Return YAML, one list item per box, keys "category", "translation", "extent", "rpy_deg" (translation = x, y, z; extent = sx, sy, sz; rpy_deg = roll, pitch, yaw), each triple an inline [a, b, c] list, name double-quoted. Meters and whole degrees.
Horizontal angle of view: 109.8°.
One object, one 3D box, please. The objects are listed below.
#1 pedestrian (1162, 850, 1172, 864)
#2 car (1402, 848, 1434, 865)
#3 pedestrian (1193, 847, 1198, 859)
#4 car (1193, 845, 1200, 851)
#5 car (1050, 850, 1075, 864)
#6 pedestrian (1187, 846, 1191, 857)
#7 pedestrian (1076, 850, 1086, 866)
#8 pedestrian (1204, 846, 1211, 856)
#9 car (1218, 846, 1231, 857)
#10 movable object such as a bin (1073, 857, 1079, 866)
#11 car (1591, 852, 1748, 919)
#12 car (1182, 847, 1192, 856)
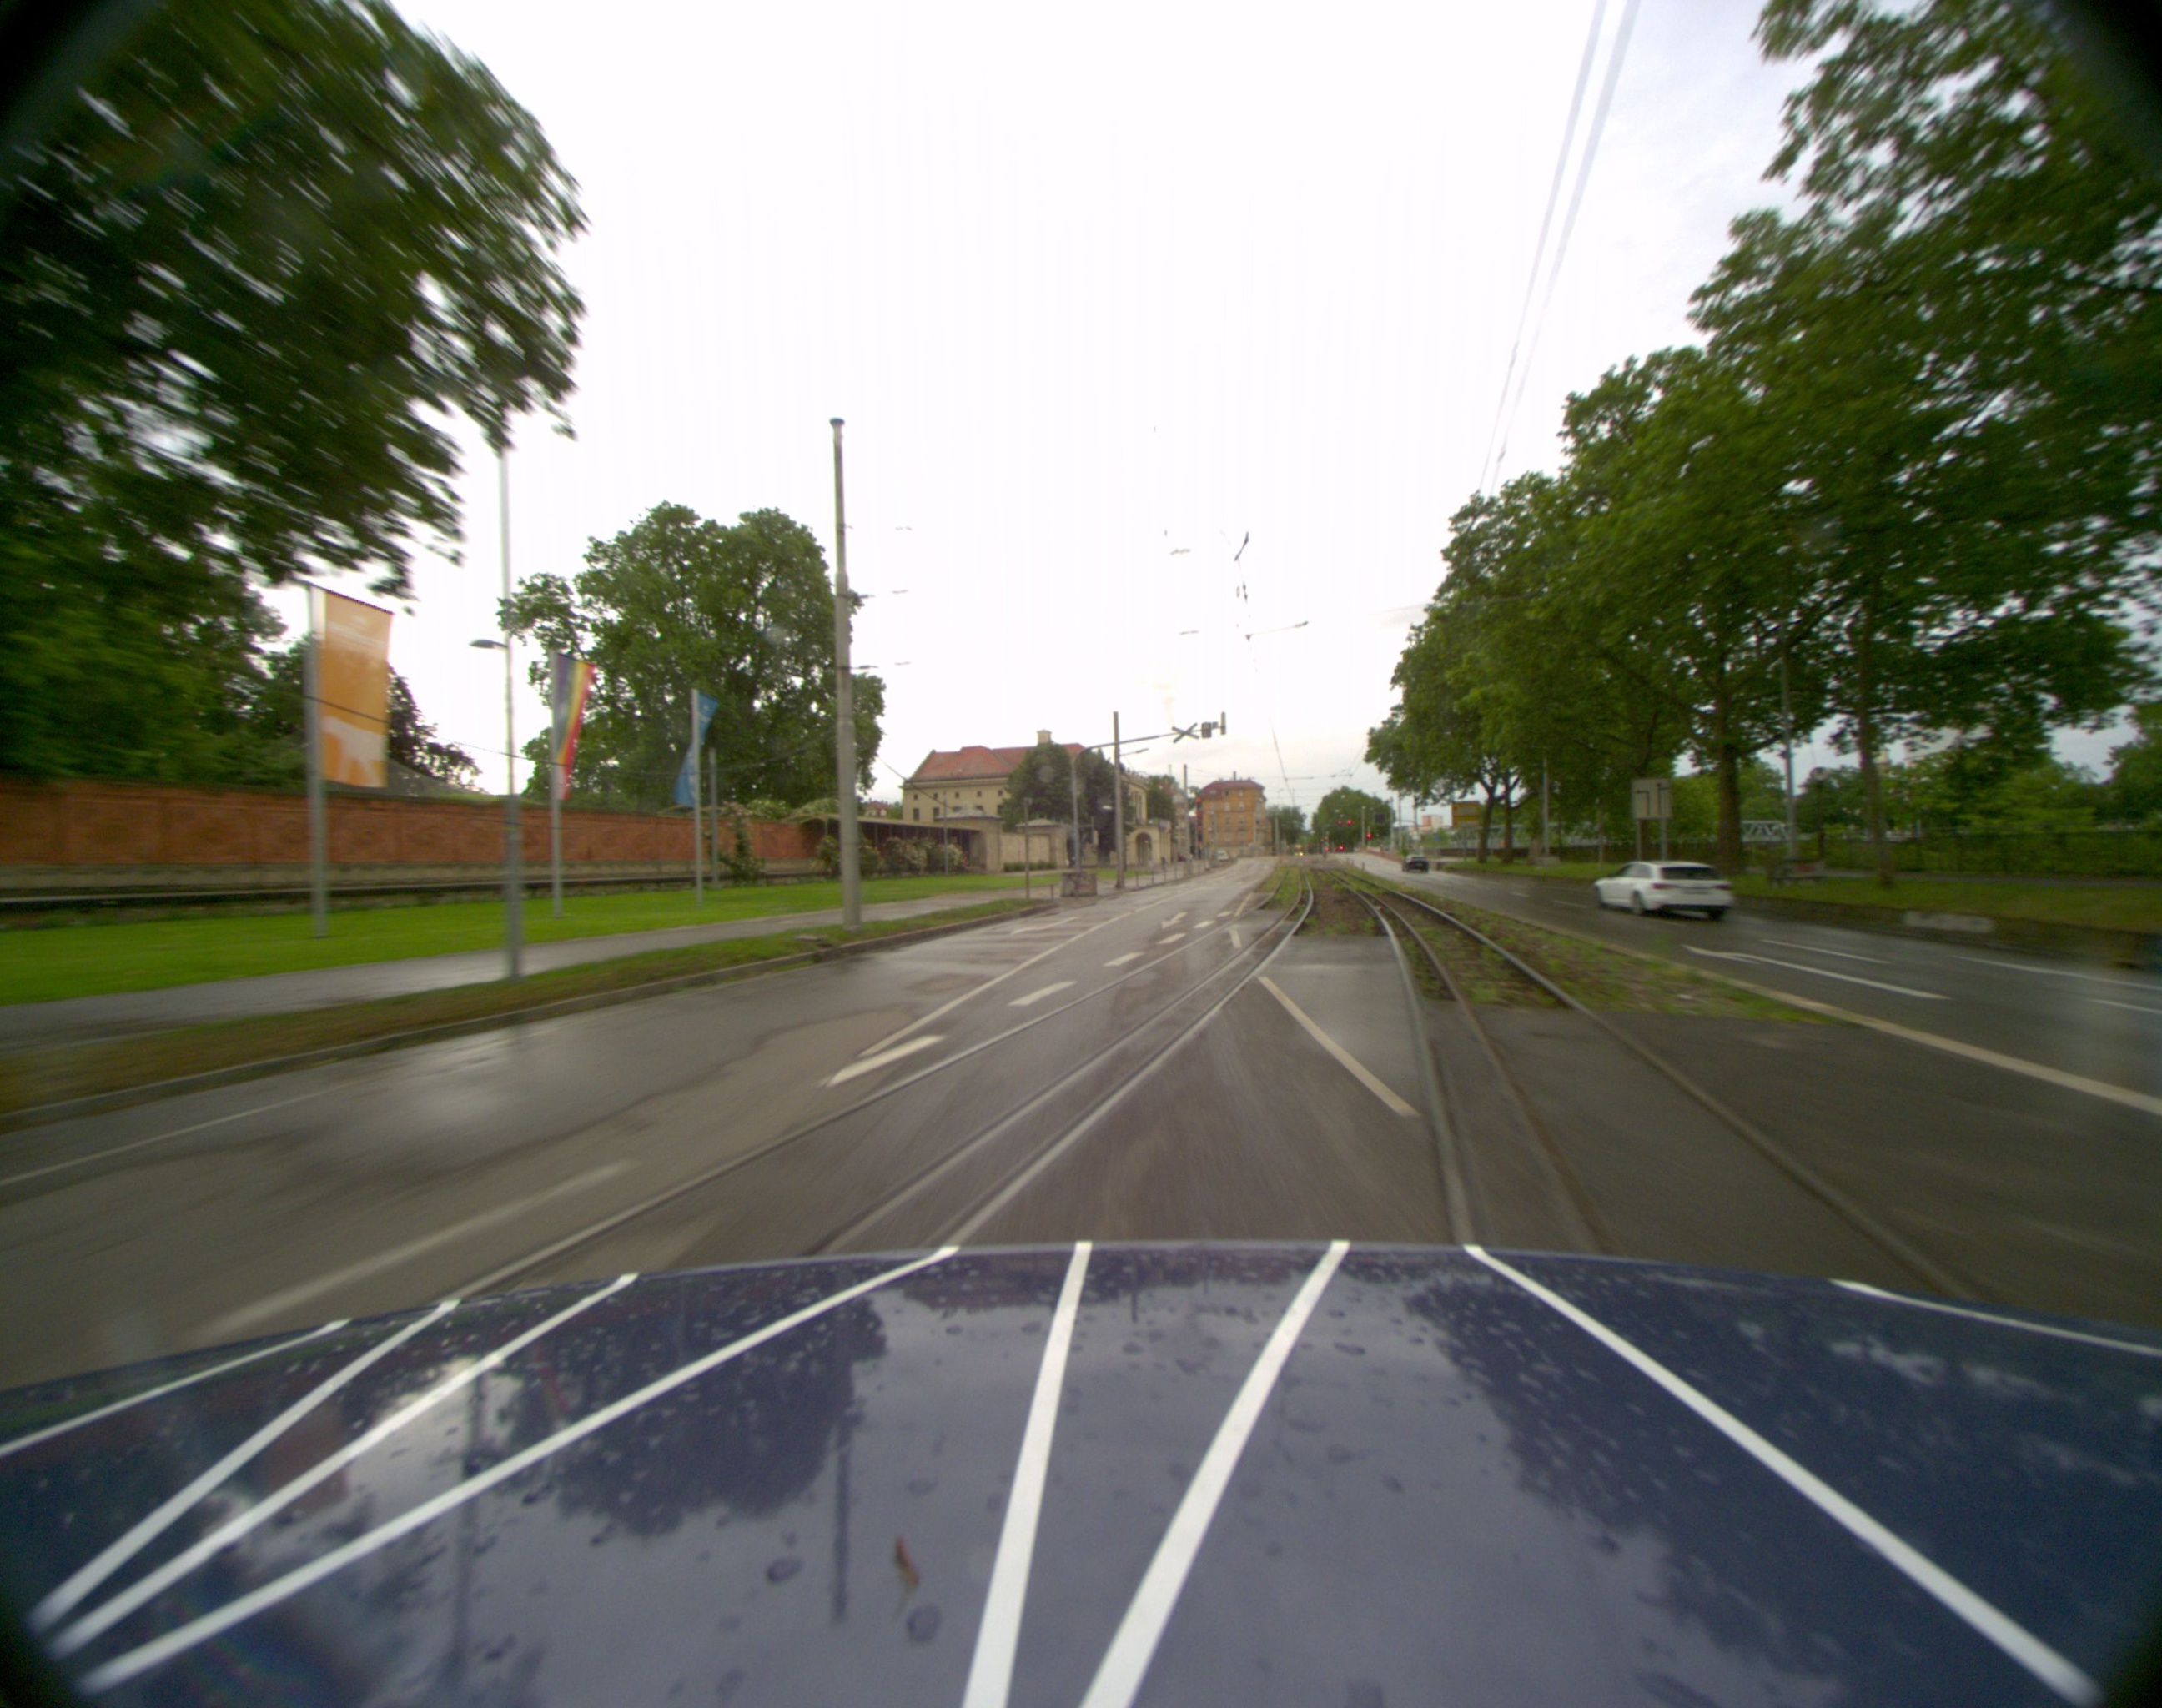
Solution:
- category: "pedestrian"
  translation: [9.601, 0.299, 84.769]
  extent: [0.863, 1.581, 0.670]
  rpy_deg: [1, 2, 42]
- category: "car"
  translation: [28.529, 0.177, 64.380]
  extent: [1.749, 1.421, 4.565]
  rpy_deg: [0, 1, 15]
- category: "pedestrian"
  translation: [17.033, -0.162, 113.102]
  extent: [0.594, 1.726, 0.840]
  rpy_deg: [-1, 1, 13]
- category: "car"
  translation: [29.932, -1.567, 196.964]
  extent: [1.829, 1.573, 4.002]
  rpy_deg: [-1, 1, 10]
- category: "car"
  translation: [-2.082, 0.346, 85.834]
  extent: [1.839, 1.446, 3.603]
  rpy_deg: [-1, -1, 15]
- category: "pedestrian"
  translation: [16.107, -0.313, 113.314]
  extent: [0.628, 1.635, 0.781]
  rpy_deg: [-1, 1, 9]
- category: "pedestrian"
  translation: [0.014, 0.416, 78.583]
  extent: [0.729, 1.701, 0.982]
  rpy_deg: [-1, 1, 17]
- category: "pedestrian"
  translation: [21.755, -0.512, 130.870]
  extent: [0.782, 1.796, 0.697]
  rpy_deg: [-4, 1, -25]
- category: "car"
  translation: [23.821, -0.420, 125.964]
  extent: [1.842, 1.630, 4.146]
  rpy_deg: [-5, 0, 11]
- category: "movable object such as a bin"
  translation: [-0.526, 0.810, 78.947]
  extent: [0.342, 0.867, 1.193]
  rpy_deg: [-1, 1, 17]
- category: "car"
  translation: [15.365, 0.724, 20.167]
  extent: [1.711, 1.490, 4.725]
  rpy_deg: [1, 1, 17]
- category: "car"
  translation: [20.393, -0.443, 146.229]
  extent: [1.829, 1.573, 4.002]
  rpy_deg: [-1, 1, 10]
